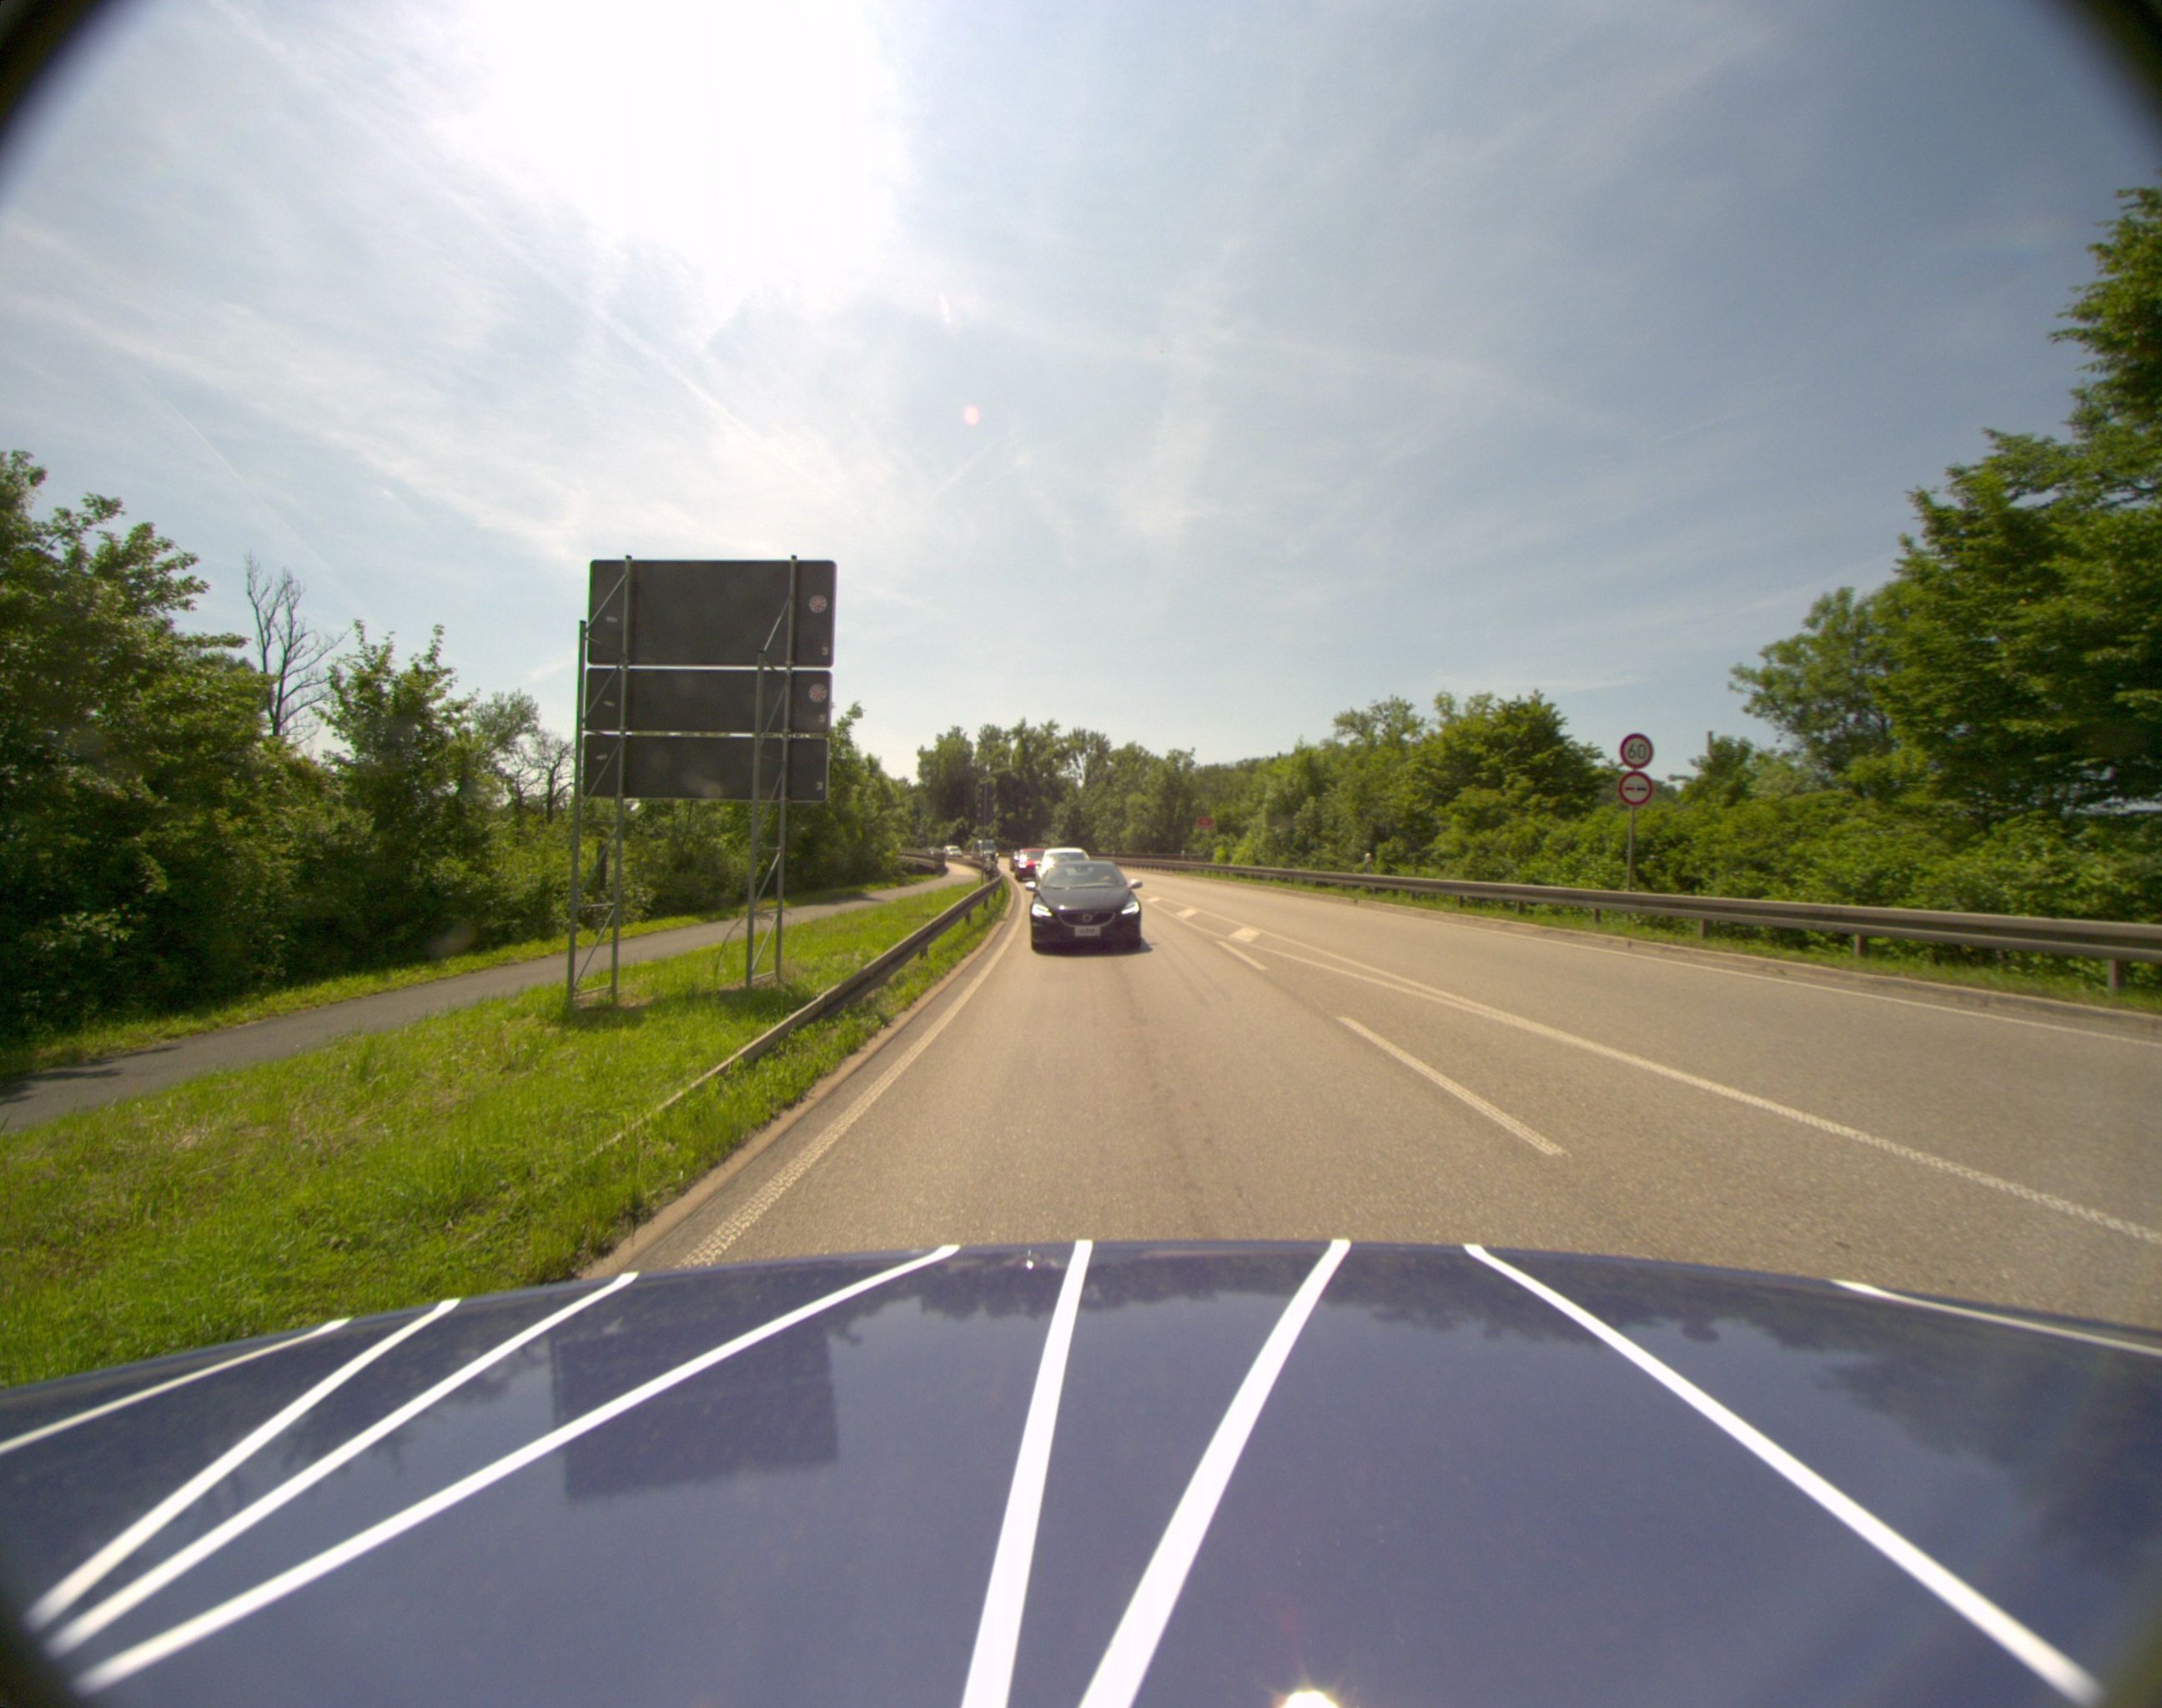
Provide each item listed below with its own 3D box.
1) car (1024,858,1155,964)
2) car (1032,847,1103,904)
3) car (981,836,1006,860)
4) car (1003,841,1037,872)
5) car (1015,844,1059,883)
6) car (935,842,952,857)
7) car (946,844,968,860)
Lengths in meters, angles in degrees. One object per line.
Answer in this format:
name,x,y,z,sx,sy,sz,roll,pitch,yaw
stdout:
car,0.038,0.859,13.321,1.909,1.413,3.948,-2,1,-3
car,-0.545,0.636,25.074,1.910,1.638,3.948,-3,1,-6
car,-9.539,-0.703,82.314,2.001,2.471,4.852,-2,2,-14
car,-4.378,0.136,53.886,2.000,2.002,3.995,-2,2,-10
car,-2.327,0.437,39.064,2.000,1.766,3.996,-2,2,-6
car,-20.828,-0.693,115.334,2.001,2.002,3.993,-3,2,-17
car,-16.488,-0.305,100.742,2.002,2.002,4.703,-3,2,-20
